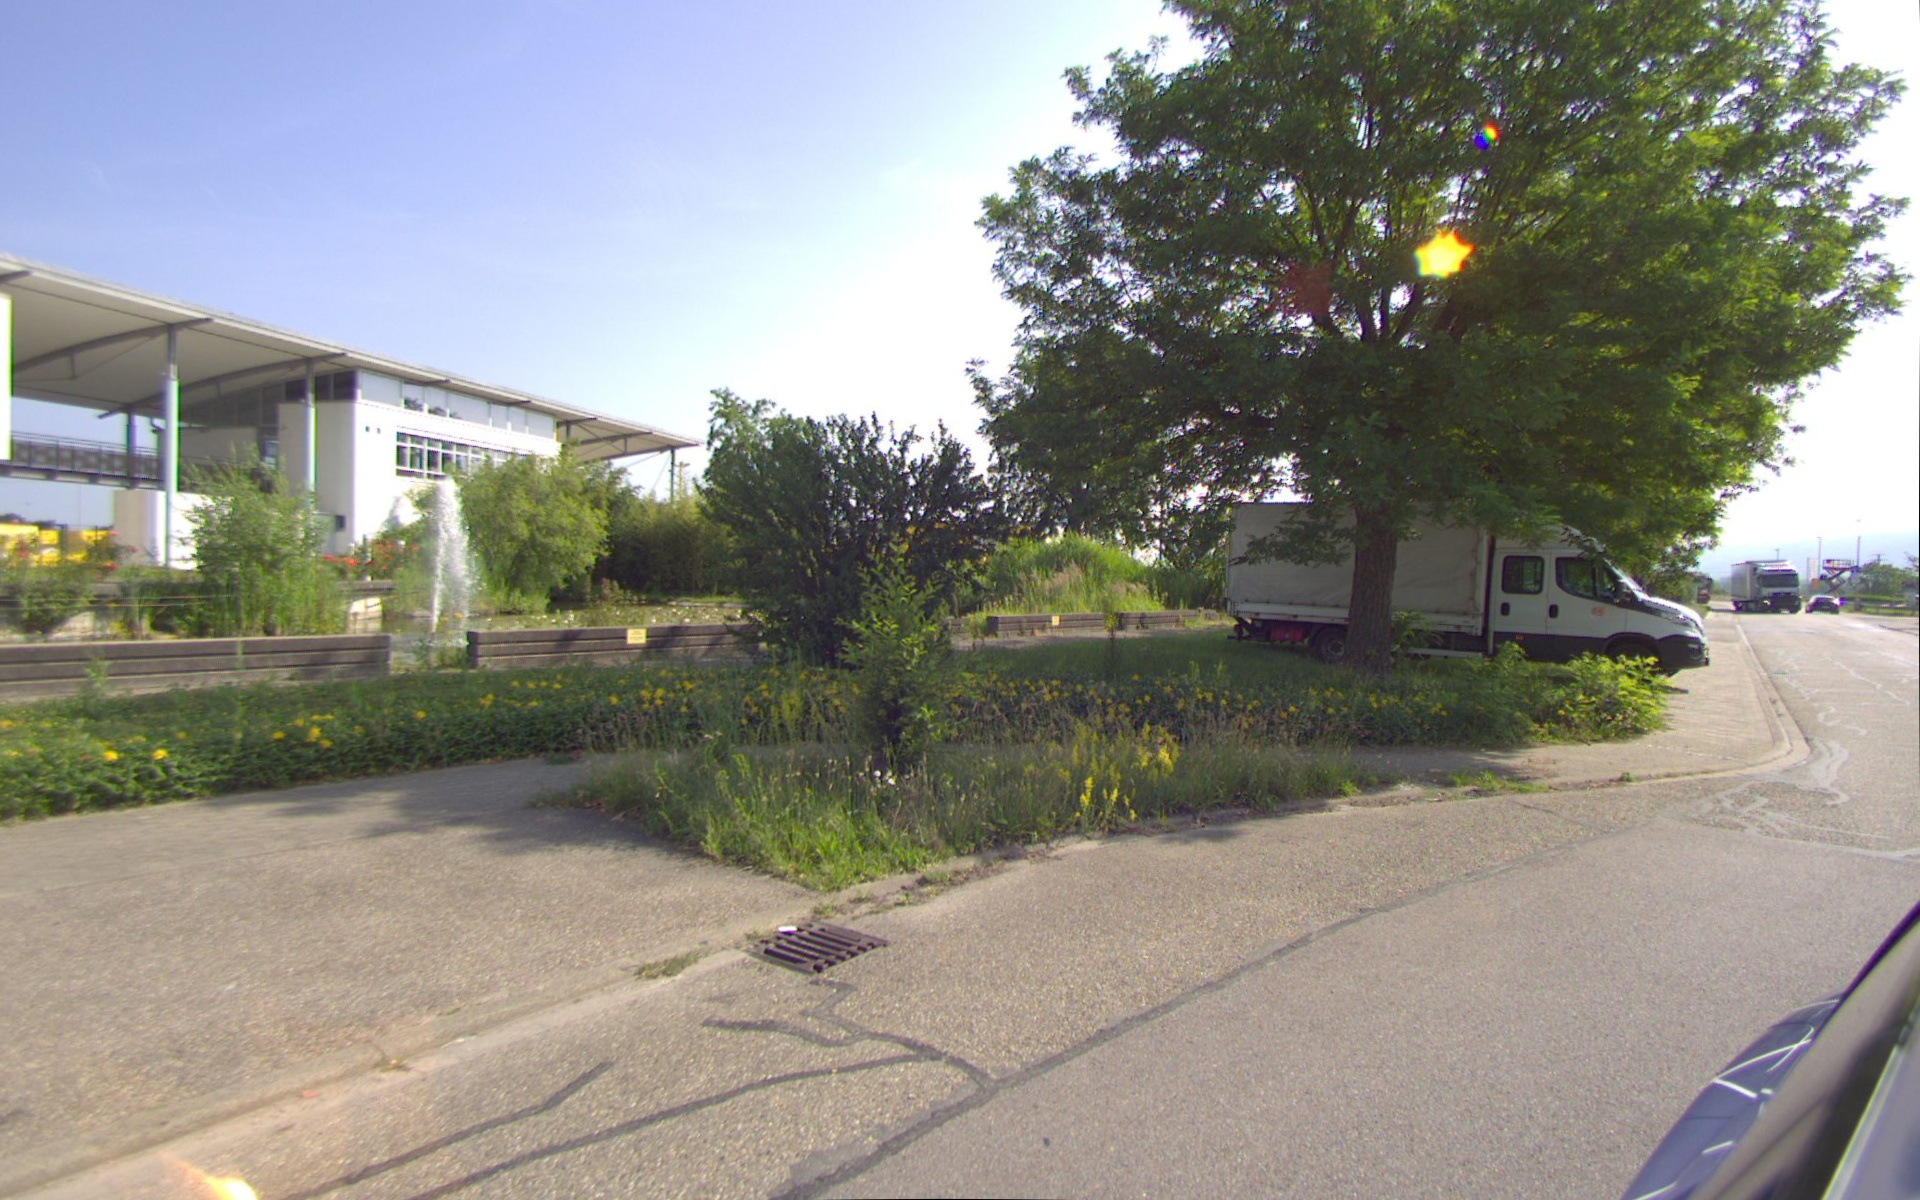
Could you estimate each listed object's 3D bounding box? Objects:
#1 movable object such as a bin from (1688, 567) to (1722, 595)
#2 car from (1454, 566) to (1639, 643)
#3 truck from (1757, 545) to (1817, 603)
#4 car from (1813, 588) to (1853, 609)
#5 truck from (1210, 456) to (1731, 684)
[{"bbox_3d":[85.608,-2.164,116.423,2.416,3.048,5.693,3,3,30],"label":"movable object such as a bin"},{"bbox_3d":[15.580,0.054,26.981,3.982,1.860,1.972,2,2,40],"label":"car"},{"bbox_3d":[64.165,-2.019,78.624,3.379,4.260,6.017,-1,1,38],"label":"truck"},{"bbox_3d":[68.971,-0.154,80.009,1.989,1.466,4.362,5,3,36],"label":"car"},{"bbox_3d":[9.062,-0.639,18.752,8.191,3.411,2.705,3,3,38],"label":"truck"}]
